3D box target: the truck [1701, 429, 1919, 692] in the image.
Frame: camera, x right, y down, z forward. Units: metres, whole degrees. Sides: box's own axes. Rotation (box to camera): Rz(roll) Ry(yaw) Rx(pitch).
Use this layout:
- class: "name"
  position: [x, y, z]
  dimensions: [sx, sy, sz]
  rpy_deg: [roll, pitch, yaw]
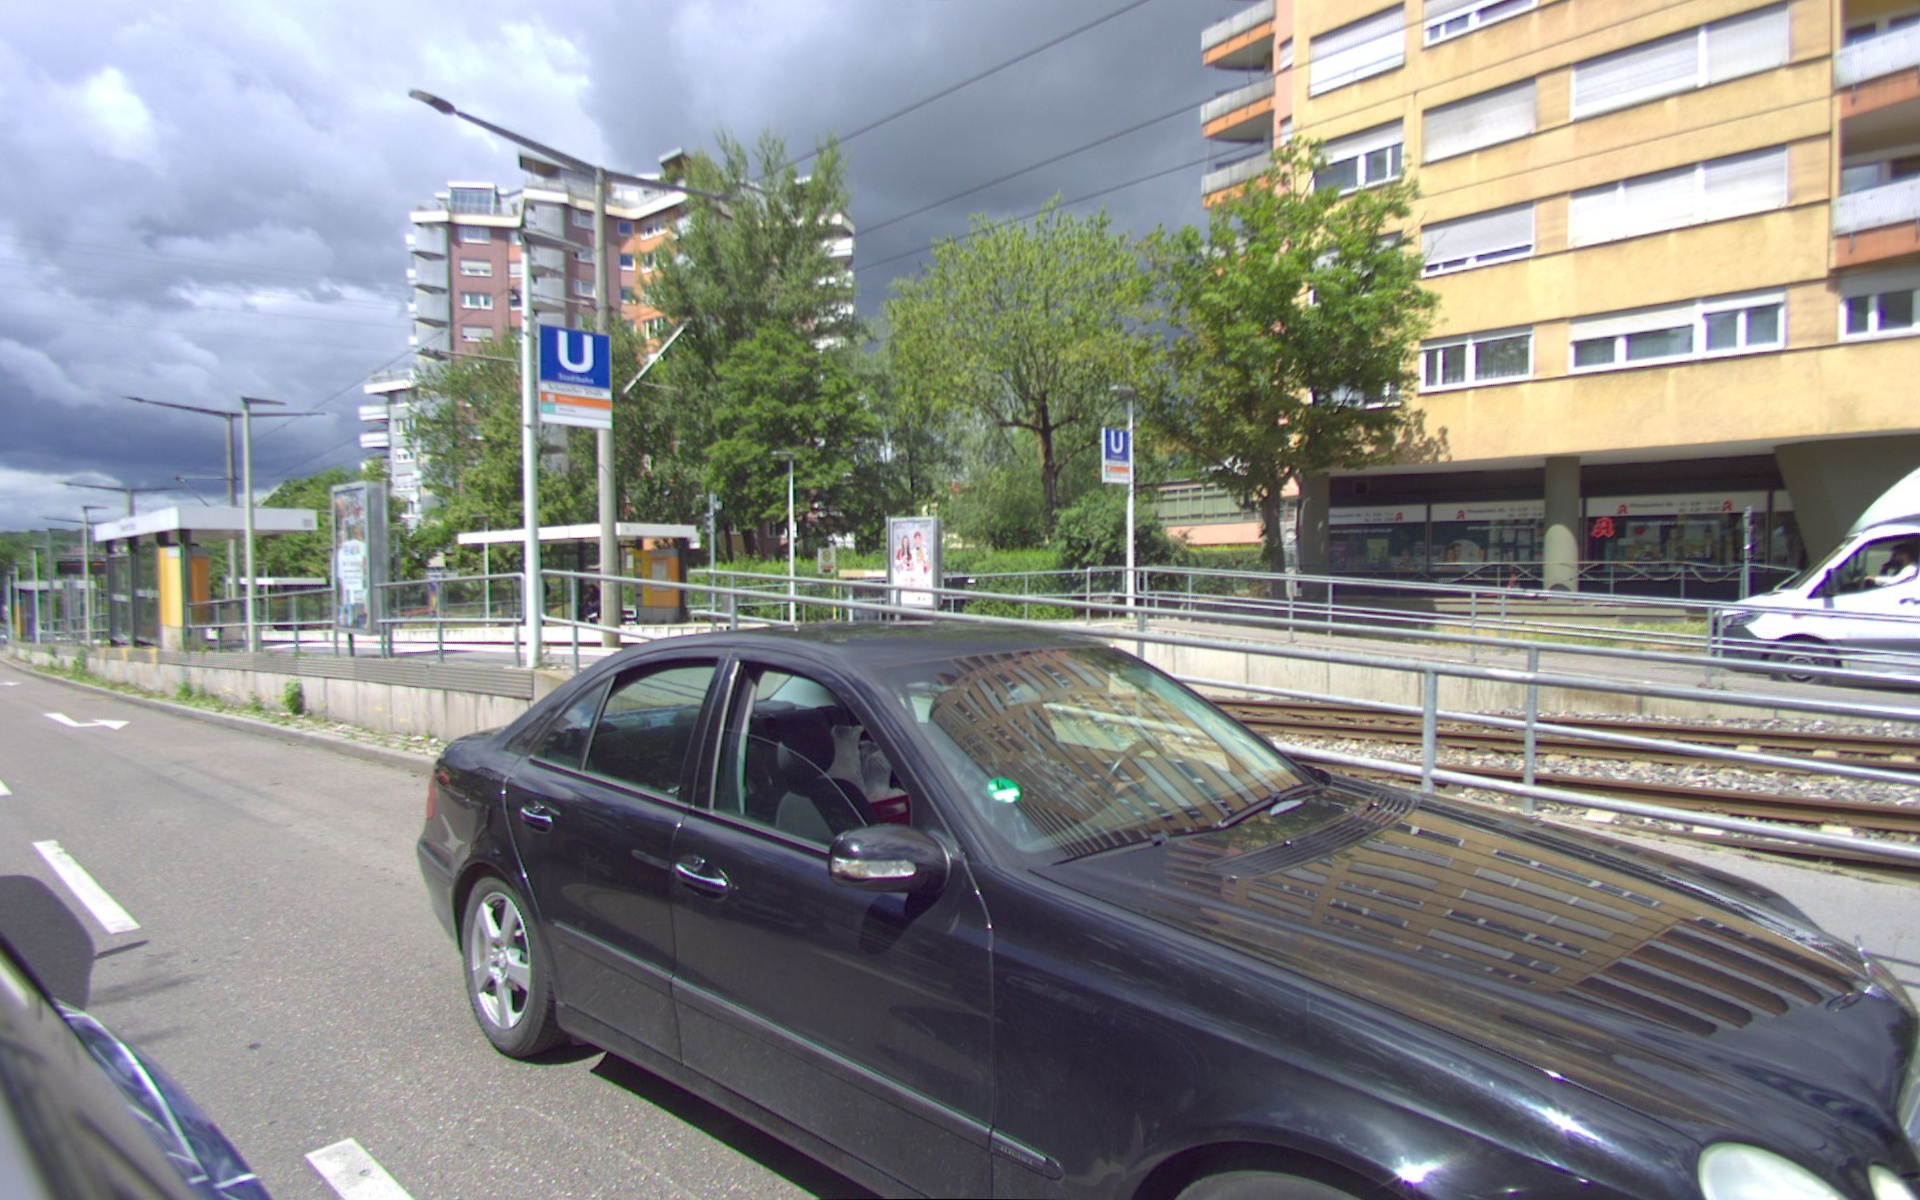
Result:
- class: "truck"
  position: [13.738, -0.545, 12.448]
  dimensions: [7.256, 3.247, 2.390]
  rpy_deg: [-2, -1, 40]

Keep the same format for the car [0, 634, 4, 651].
- class: "car"
  position: [-93.251, 4.129, 97.410]
  dimensions: [1.707, 1.525, 4.004]
  rpy_deg: [-1, 0, -43]

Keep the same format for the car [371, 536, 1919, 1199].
- class: "car"
  position: [0.046, 0.688, 2.955]
  dimensions: [4.542, 1.472, 1.710]
  rpy_deg: [-1, 0, 42]
